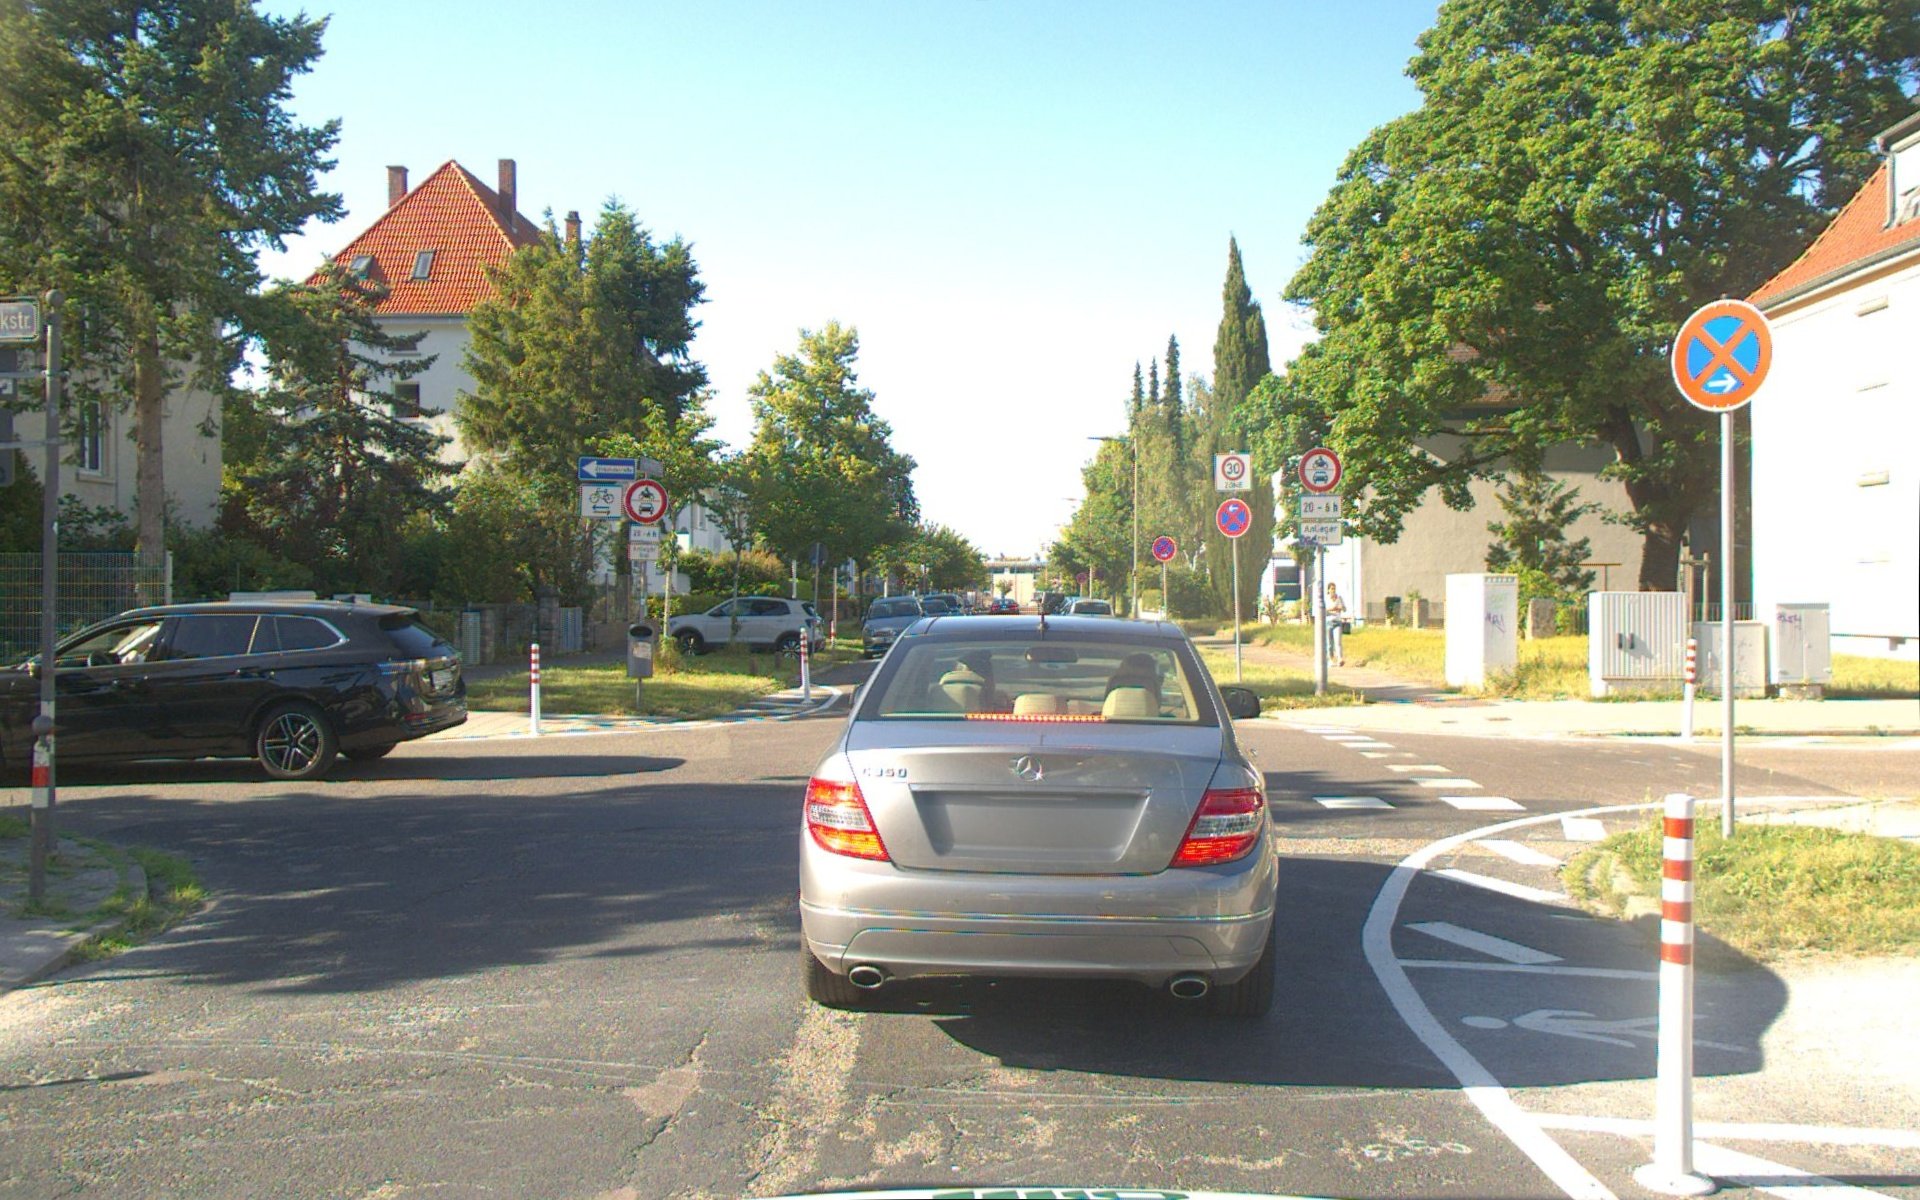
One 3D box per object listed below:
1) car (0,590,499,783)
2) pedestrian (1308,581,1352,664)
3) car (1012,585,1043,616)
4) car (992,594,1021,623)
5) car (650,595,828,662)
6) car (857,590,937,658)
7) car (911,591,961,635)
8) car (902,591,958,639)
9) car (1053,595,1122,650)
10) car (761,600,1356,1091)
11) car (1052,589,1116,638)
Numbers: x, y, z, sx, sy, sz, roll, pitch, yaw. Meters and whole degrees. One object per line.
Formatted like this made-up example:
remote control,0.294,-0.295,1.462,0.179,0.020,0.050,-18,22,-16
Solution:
car,-6.704,0.718,14.684,4.643,1.551,2.000,-1,0,-1
pedestrian,7.393,0.440,33.086,0.750,1.639,0.835,-1,0,7
car,4.177,0.043,103.181,1.816,1.873,4.001,-1,0,1
car,2.751,0.491,98.649,1.564,1.638,3.644,-1,0,0
car,-5.335,0.675,40.391,4.107,1.591,1.842,0,0,-1
car,-1.675,0.615,45.447,1.953,1.637,4.000,-4,0,0
car,-0.975,0.515,69.047,1.953,1.637,4.000,-4,0,0
car,-1.108,0.531,63.253,1.953,1.637,4.000,-4,0,0
car,3.624,0.616,47.538,1.698,1.505,3.725,-1,0,0
car,0.399,0.739,7.021,1.798,1.466,4.002,0,0,3
car,4.351,0.450,58.423,1.953,1.638,4.000,-1,0,0
